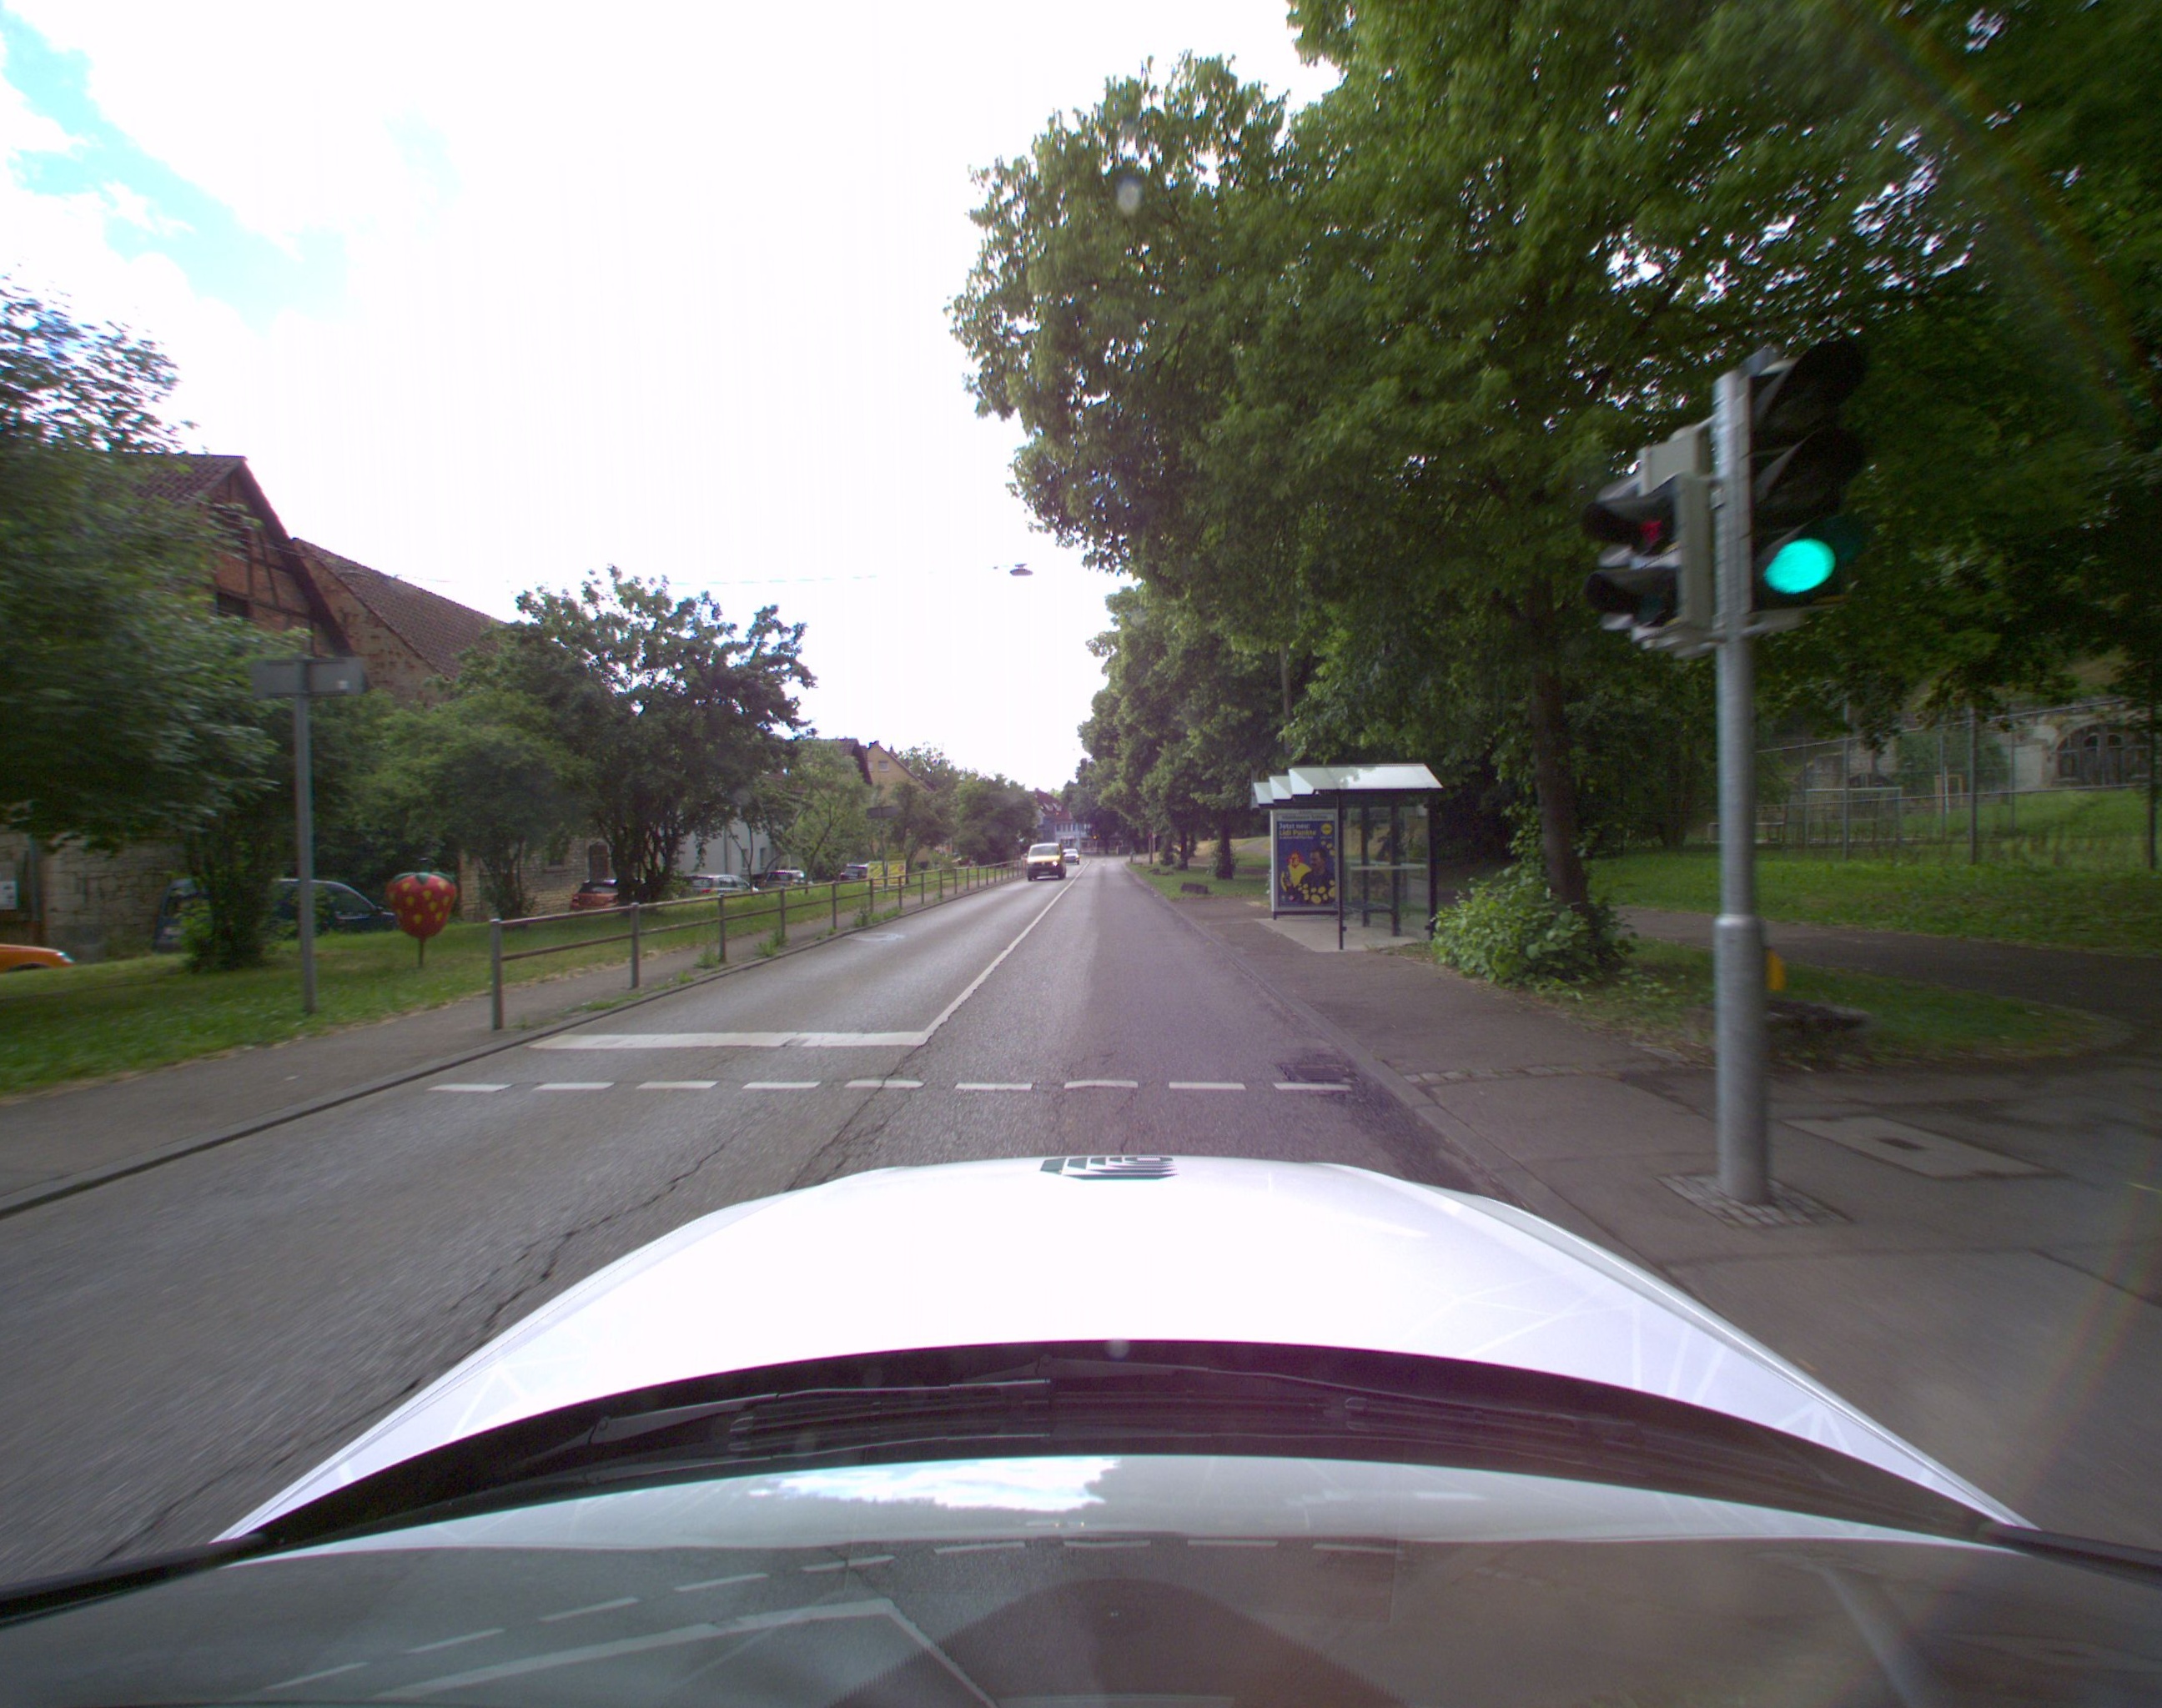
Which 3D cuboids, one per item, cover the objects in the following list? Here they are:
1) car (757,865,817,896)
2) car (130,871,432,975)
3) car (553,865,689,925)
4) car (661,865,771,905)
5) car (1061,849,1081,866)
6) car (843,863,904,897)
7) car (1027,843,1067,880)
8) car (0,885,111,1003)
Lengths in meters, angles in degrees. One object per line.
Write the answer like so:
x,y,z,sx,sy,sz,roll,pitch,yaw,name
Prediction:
-13.440,1.188,37.339,1.544,1.278,2.559,-3,0,7,car
-15.565,1.250,16.207,1.803,1.618,4.005,-3,0,4,car
-14.620,1.251,26.161,1.803,1.618,4.005,-3,0,4,car
-13.853,1.151,31.215,1.983,1.277,4.008,-3,0,7,car
-0.994,0.306,80.190,1.698,1.511,4.002,-3,0,2,car
-11.627,1.445,45.978,1.910,1.695,4.008,-3,0,7,car
-1.825,0.385,44.640,1.839,1.930,4.771,-1,0,1,car
-16.259,1.346,10.739,1.939,1.618,4.005,-3,0,4,car
